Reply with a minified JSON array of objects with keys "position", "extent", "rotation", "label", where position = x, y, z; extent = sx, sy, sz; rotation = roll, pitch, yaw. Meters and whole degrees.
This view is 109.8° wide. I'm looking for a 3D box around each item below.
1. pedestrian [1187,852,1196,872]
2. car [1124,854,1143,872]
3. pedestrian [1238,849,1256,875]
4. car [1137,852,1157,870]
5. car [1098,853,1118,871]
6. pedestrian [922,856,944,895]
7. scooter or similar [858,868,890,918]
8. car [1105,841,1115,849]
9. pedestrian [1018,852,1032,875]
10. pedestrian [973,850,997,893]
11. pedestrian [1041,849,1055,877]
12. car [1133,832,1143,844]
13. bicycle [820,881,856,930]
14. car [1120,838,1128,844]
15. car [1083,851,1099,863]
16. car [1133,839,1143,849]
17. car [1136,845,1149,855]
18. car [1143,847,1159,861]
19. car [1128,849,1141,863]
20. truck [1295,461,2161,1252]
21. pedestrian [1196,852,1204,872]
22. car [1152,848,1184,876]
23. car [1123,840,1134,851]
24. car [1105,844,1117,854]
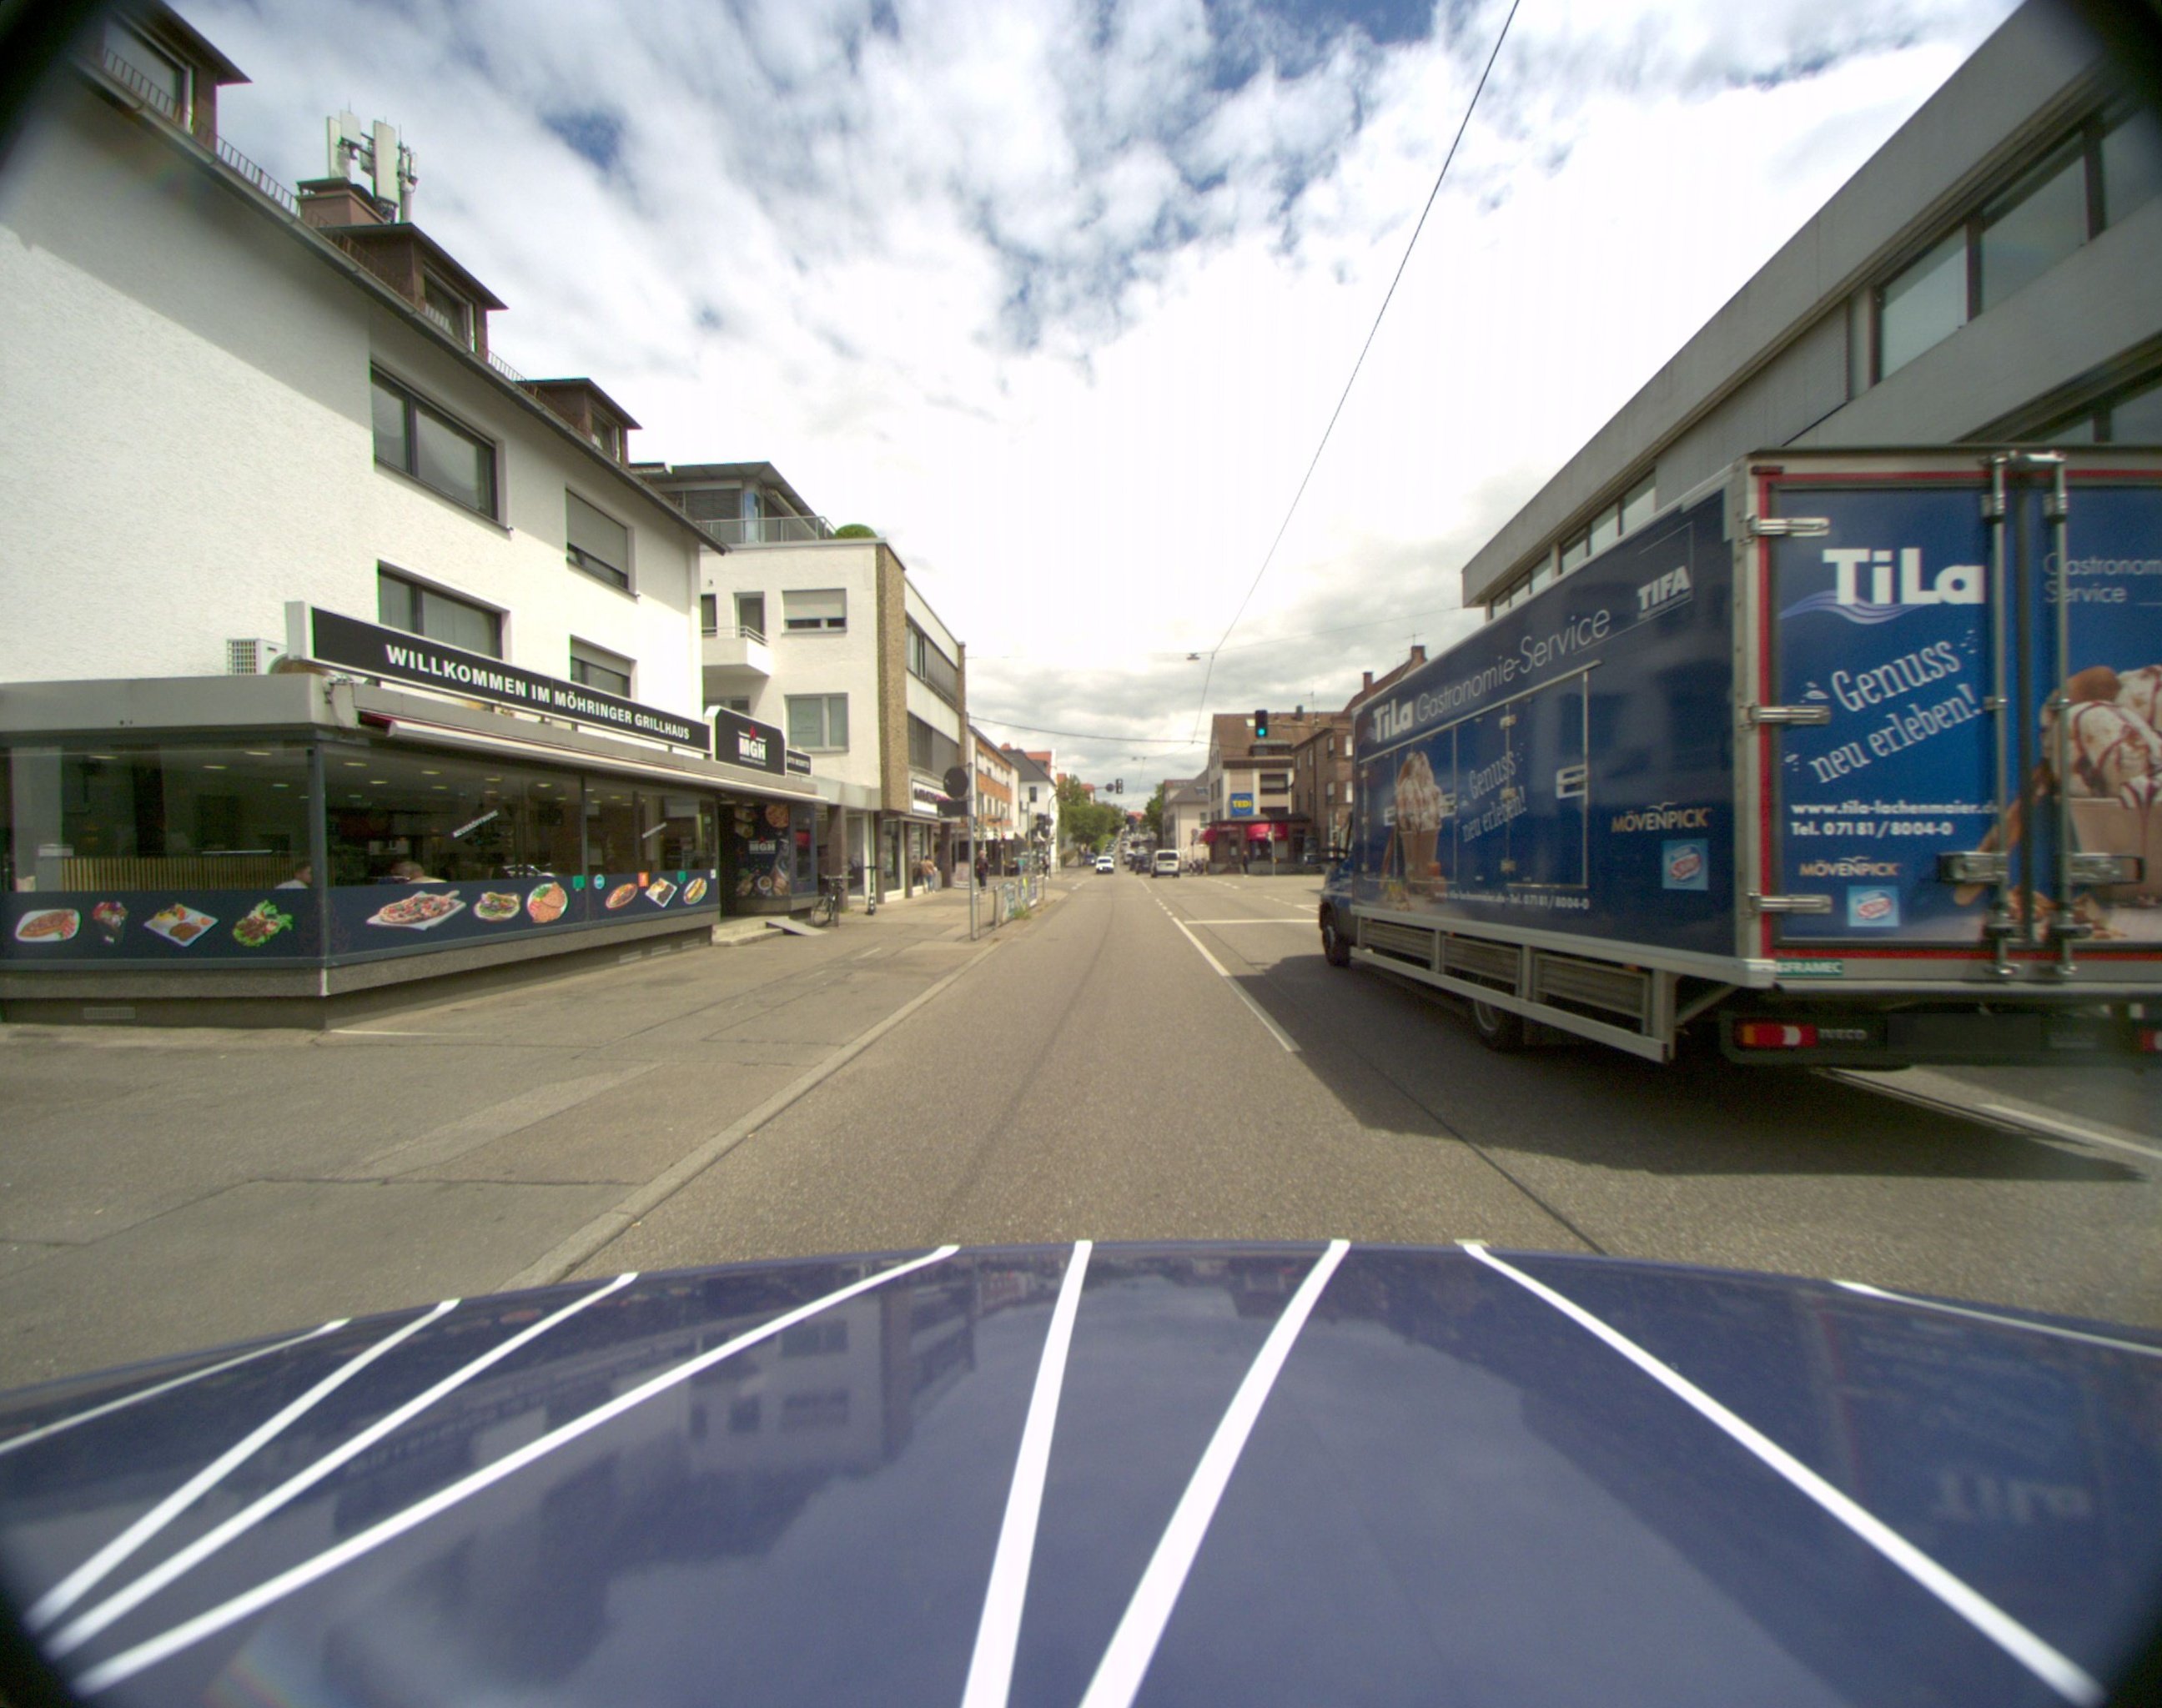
[{"position":[9.355,0.657,64.434],"extent":[0.778,1.685,0.796],"rotation":[0,1,9],"label":"pedestrian"},{"position":[5.934,1.004,86.169],"extent":[1.953,1.866,4.877],"rotation":[0,1,2],"label":"car"},{"position":[11.131,0.532,50.929],"extent":[0.908,1.713,0.849],"rotation":[-1,1,-39],"label":"pedestrian"},{"position":[6.101,0.612,70.614],"extent":[1.681,1.626,2.834],"rotation":[0,0,1],"label":"car"},{"position":[2.784,0.807,79.412],"extent":[1.999,1.797,4.765],"rotation":[-2,0,1],"label":"car"},{"position":[-5.718,0.808,29.415],"extent":[0.681,1.490,0.720],"rotation":[0,1,3],"label":"pedestrian"},{"position":[-5.498,1.020,20.204],"extent":[0.690,1.260,1.184],"rotation":[0,1,-9],"label":"scooter or similar"},{"position":[6.198,-1.859,161.093],"extent":[1.998,1.654,4.001],"rotation":[0,0,3],"label":"car"},{"position":[-3.693,0.637,50.172],"extent":[0.779,1.517,0.819],"rotation":[0,1,5],"label":"pedestrian"},{"position":[-3.775,0.686,29.976],"extent":[0.796,1.661,0.807],"rotation":[0,1,2],"label":"pedestrian"},{"position":[-2.202,0.610,50.819],"extent":[0.580,1.820,0.882],"rotation":[1,1,19],"label":"pedestrian"},{"position":[16.495,-4.629,219.015],"extent":[2.428,3.409,7.638],"rotation":[0,0,1],"label":"car"},{"position":[-5.572,1.154,17.489],"extent":[0.476,1.022,1.635],"rotation":[0,0,-6],"label":"bicycle"},{"position":[10.450,-3.112,184.811],"extent":[1.858,1.414,4.193],"rotation":[0,0,1],"label":"car"},{"position":[1.409,0.395,103.857],"extent":[1.998,1.654,4.001],"rotation":[0,0,3],"label":"car"},{"position":[12.297,-2.106,164.699],"extent":[2.110,2.109,4.766],"rotation":[-1,0,3],"label":"car"},{"position":[10.770,-0.687,132.644],"extent":[2.110,1.778,4.530],"rotation":[-1,0,3],"label":"car"},{"position":[10.381,0.013,113.539],"extent":[2.110,2.109,4.766],"rotation":[-1,0,3],"label":"car"},{"position":[7.471,0.295,106.936],"extent":[1.819,1.919,4.113],"rotation":[0,0,3],"label":"car"},{"position":[4.357,0.003,6.992],"extent":[2.860,3.075,8.090],"rotation":[-1,0,3],"label":"truck"},{"position":[10.109,0.665,64.376],"extent":[0.683,1.706,0.878],"rotation":[0,1,9],"label":"pedestrian"},{"position":[5.940,0.522,52.367],"extent":[1.950,1.810,4.279],"rotation":[0,0,3],"label":"car"},{"position":[9.053,-1.628,145.737],"extent":[1.981,1.985,5.028],"rotation":[0,0,1],"label":"car"},{"position":[5.081,-0.790,127.819],"extent":[1.998,1.654,4.001],"rotation":[0,0,3],"label":"car"}]
